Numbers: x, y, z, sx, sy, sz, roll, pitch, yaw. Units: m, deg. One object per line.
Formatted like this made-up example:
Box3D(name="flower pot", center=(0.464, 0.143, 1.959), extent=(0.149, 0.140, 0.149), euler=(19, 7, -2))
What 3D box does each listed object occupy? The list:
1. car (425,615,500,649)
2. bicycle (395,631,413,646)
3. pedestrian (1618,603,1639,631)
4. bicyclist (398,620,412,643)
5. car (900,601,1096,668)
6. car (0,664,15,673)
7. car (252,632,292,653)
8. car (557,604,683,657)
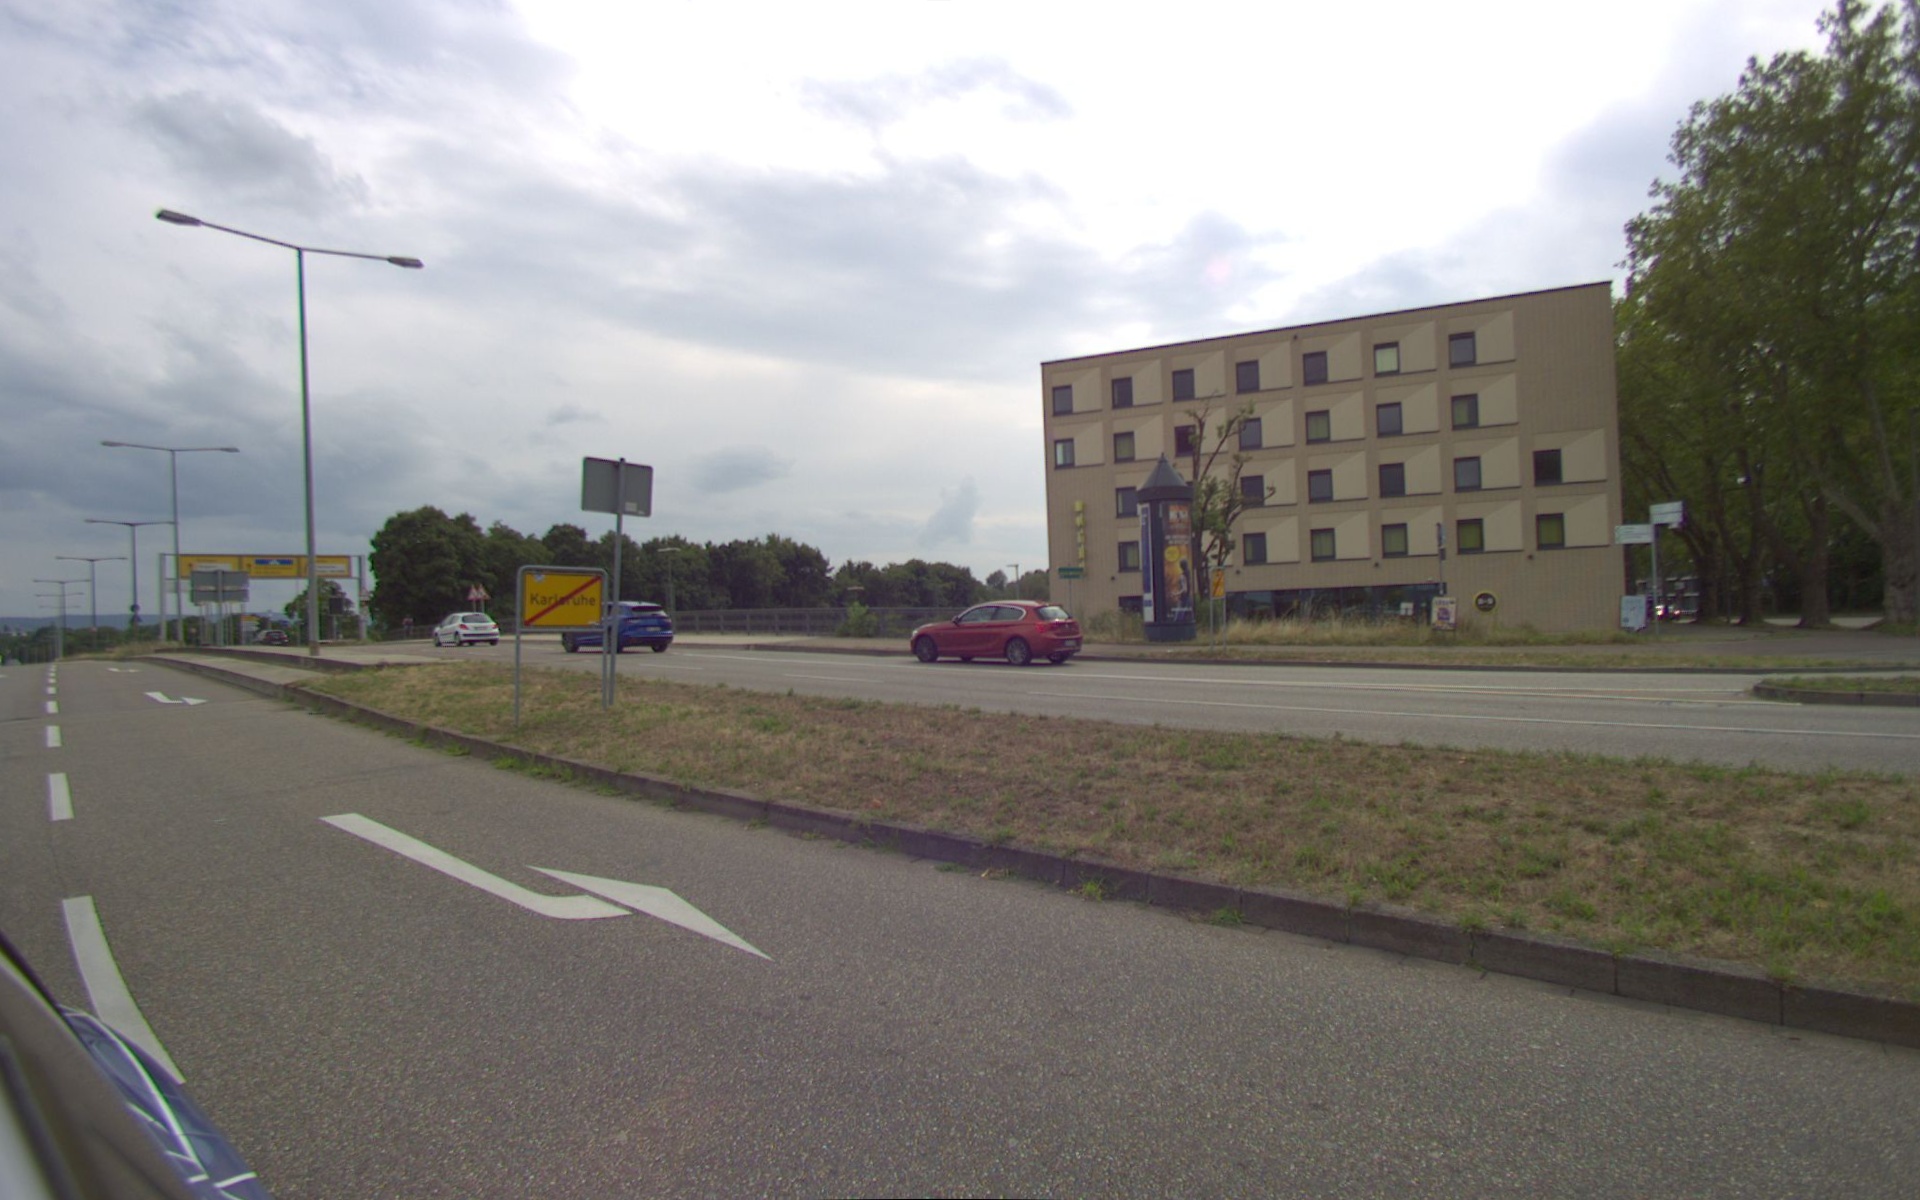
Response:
Box3D(name="car", center=(-22.268, 1.401, 45.265), extent=(3.875, 1.456, 1.707), euler=(-1, 0, 42))
Box3D(name="bicycle", center=(-40.861, 2.818, 74.410), extent=(0.676, 1.061, 1.996), euler=(-1, -1, -43))
Box3D(name="pedestrian", center=(27.571, 0.715, 41.733), extent=(0.456, 1.133, 0.502), euler=(-1, -1, -3))
Box3D(name="bicyclist", center=(-40.832, 2.310, 74.390), extent=(0.676, 1.684, 0.848), euler=(-1, -1, -43))
Box3D(name="car", center=(0.820, 0.762, 23.375), extent=(4.208, 1.391, 1.925), euler=(-1, -1, 38))
Box3D(name="car", center=(-156.245, 11.247, 165.991), extent=(1.834, 1.353, 4.004), euler=(-1, -1, -42))
Box3D(name="car", center=(-51.080, 3.129, 75.108), extent=(1.771, 1.429, 4.003), euler=(-1, -1, -44))
Box3D(name="car", center=(-10.986, 0.954, 32.546), extent=(4.463, 1.572, 1.922), euler=(-1, -1, 43))
